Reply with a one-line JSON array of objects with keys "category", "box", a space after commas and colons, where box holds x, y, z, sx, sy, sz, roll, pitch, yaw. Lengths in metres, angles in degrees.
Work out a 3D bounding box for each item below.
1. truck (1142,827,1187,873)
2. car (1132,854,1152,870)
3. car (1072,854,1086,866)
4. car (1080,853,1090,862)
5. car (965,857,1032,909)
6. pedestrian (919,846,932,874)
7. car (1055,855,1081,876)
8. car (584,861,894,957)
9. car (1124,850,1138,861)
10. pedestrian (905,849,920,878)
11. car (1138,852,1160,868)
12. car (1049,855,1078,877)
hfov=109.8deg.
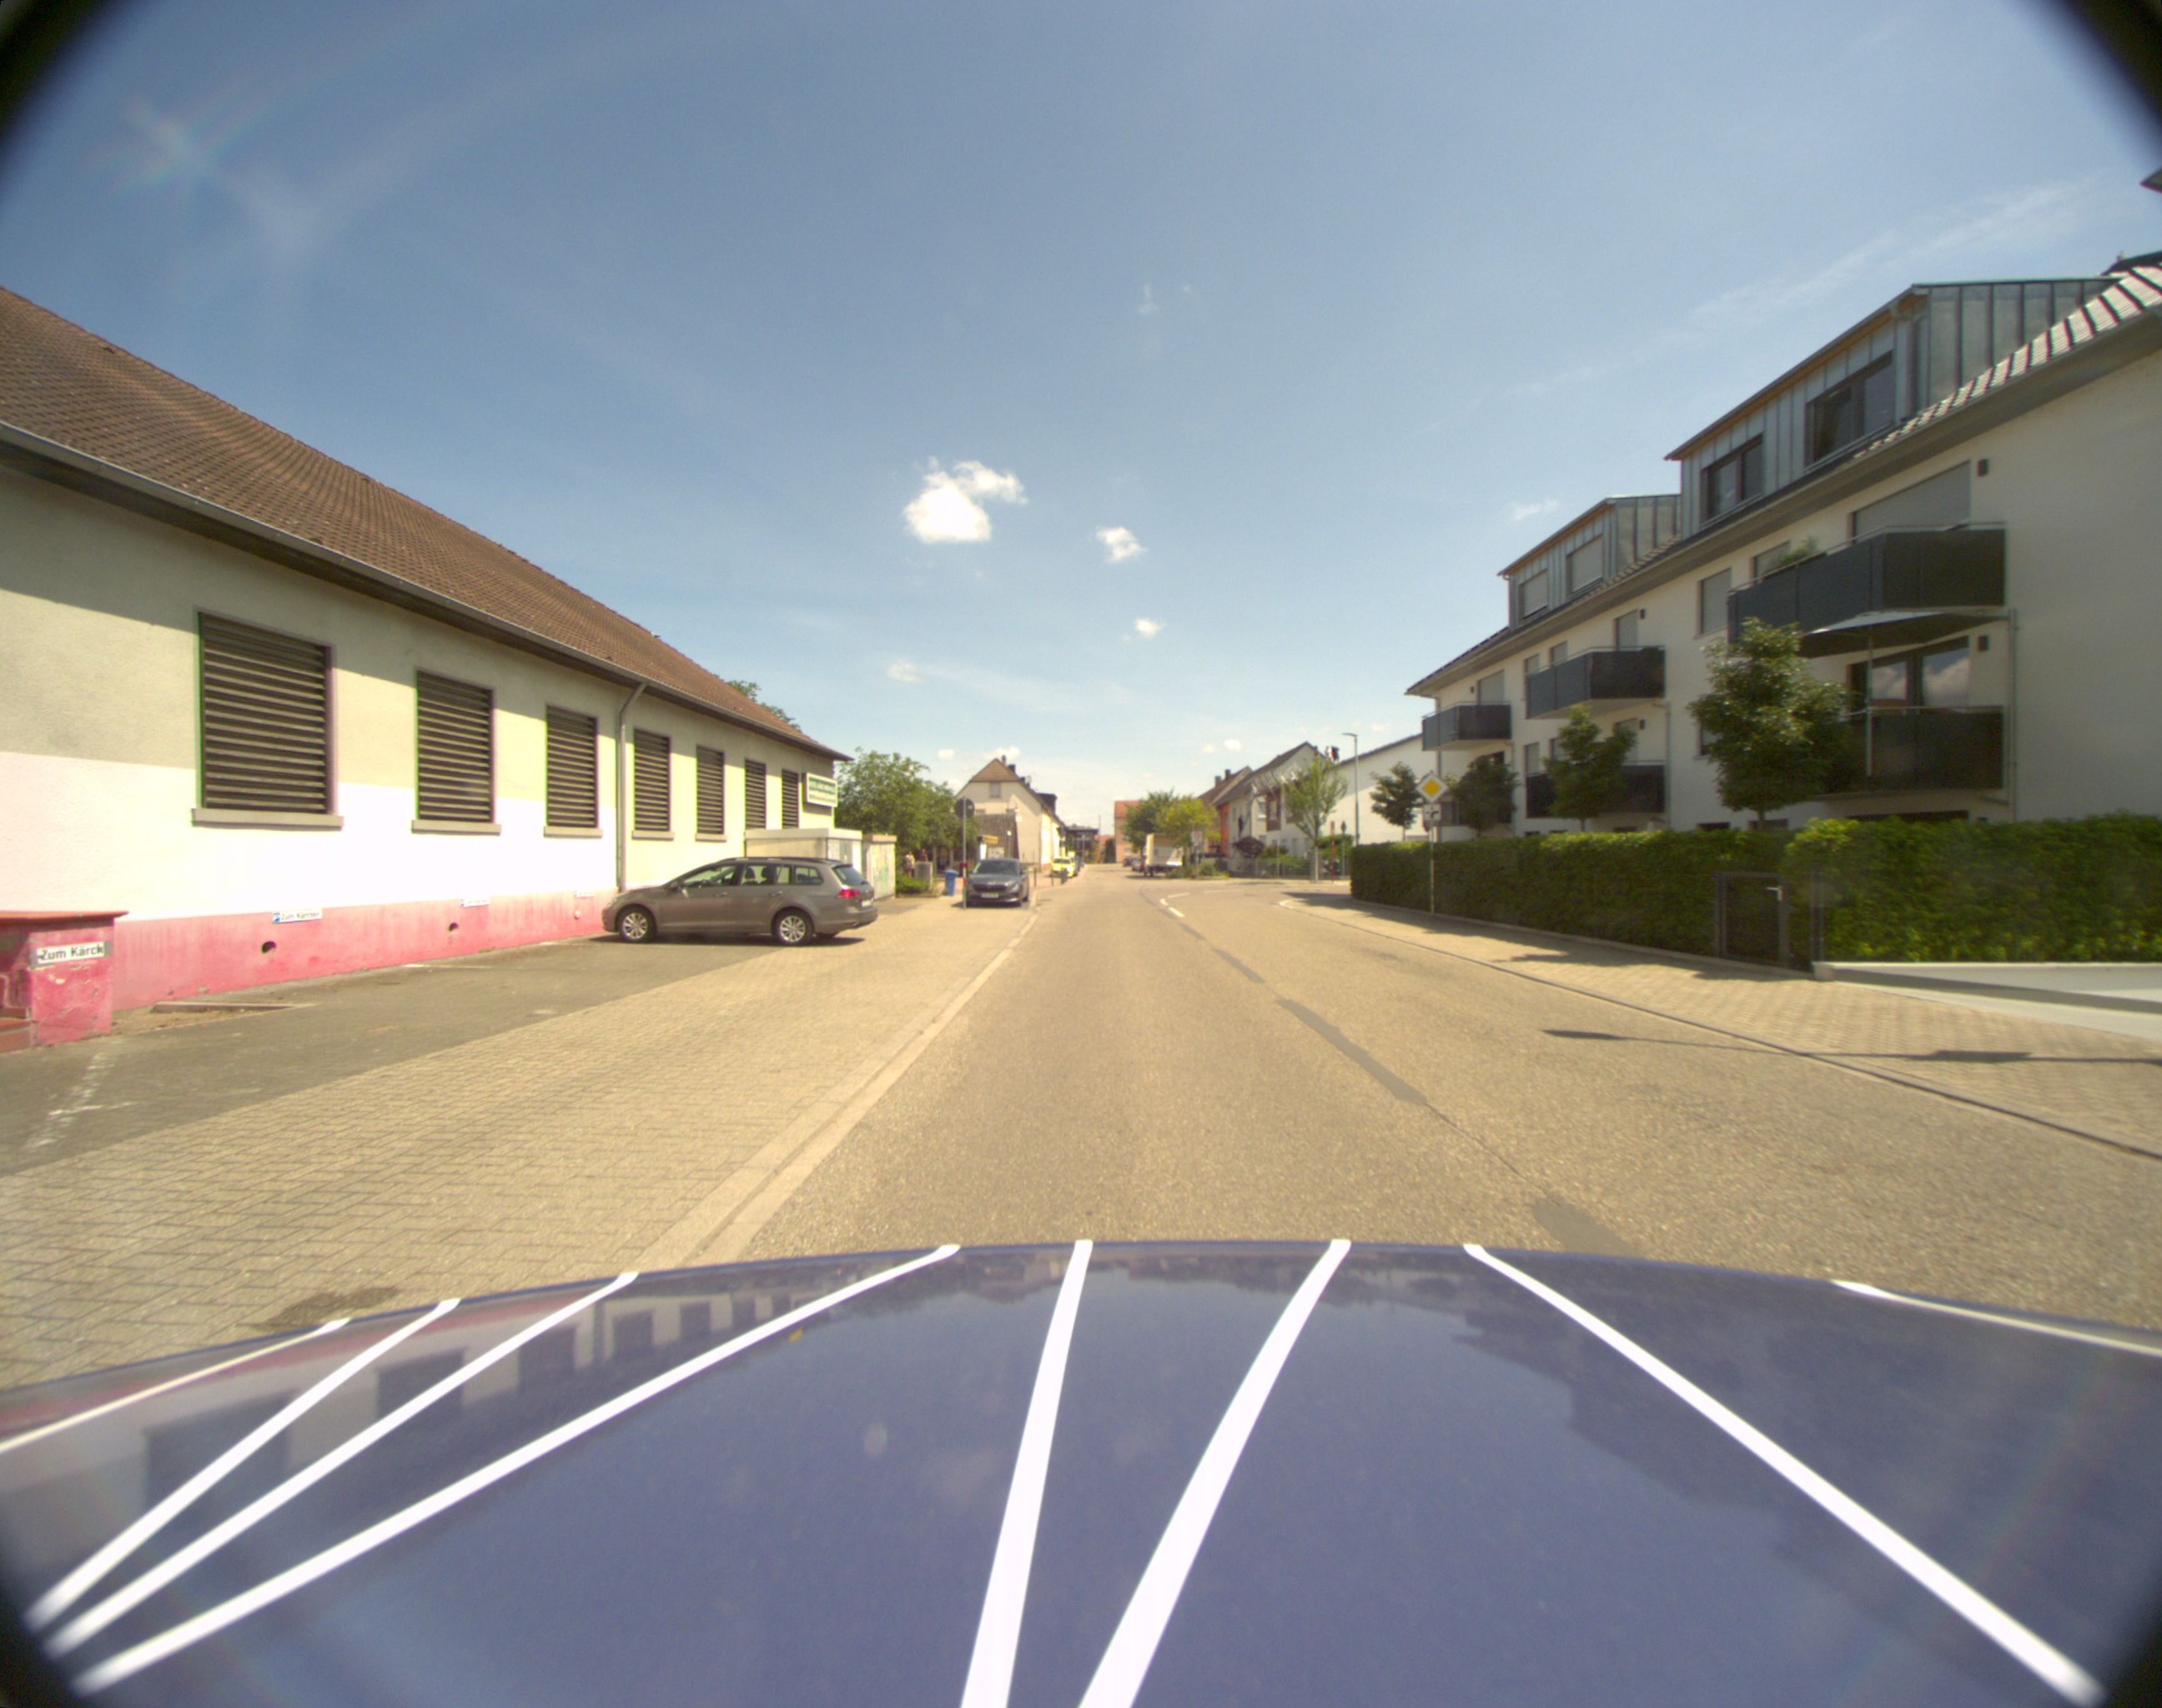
[{"category": "truck", "box": [6.310, -0.284, 58.677, 2.444, 3.227, 7.035, 3, 0, -1]}, {"category": "car", "box": [6.295, 0.800, 78.863, 1.720, 1.491, 4.215, 2, 0, 0]}, {"category": "car", "box": [-0.253, 0.758, 103.566, 1.720, 1.491, 4.215, 3, 0, 1]}, {"category": "car", "box": [0.736, 0.555, 133.844, 1.720, 1.491, 4.215, 3, 0, 1]}, {"category": "car", "box": [-2.532, 0.858, 24.119, 1.631, 1.480, 4.139, 0, 0, 1]}, {"category": "pedestrian", "box": [-9.508, 0.383, 46.555, 0.463, 1.710, 0.599, 1, 1, 42]}, {"category": "car", "box": [-0.954, 0.865, 58.558, 1.720, 1.491, 4.215, 3, 0, 1]}, {"category": "car", "box": [-5.808, 0.896, 13.304, 4.537, 1.446, 1.918, 1, 0, 1]}, {"category": "car", "box": [7.174, 0.171, 109.312, 1.720, 1.491, 4.215, 2, 0, 0]}, {"category": "pedestrian", "box": [-10.166, 0.564, 45.867, 0.548, 1.778, 0.682, 1, 1, 42]}, {"category": "car", "box": [6.424, 0.561, 72.499, 1.720, 1.491, 4.215, 2, 0, 0]}, {"category": "car", "box": [-1.178, 0.832, 53.458, 1.720, 1.390, 4.215, 3, 0, 1]}]
